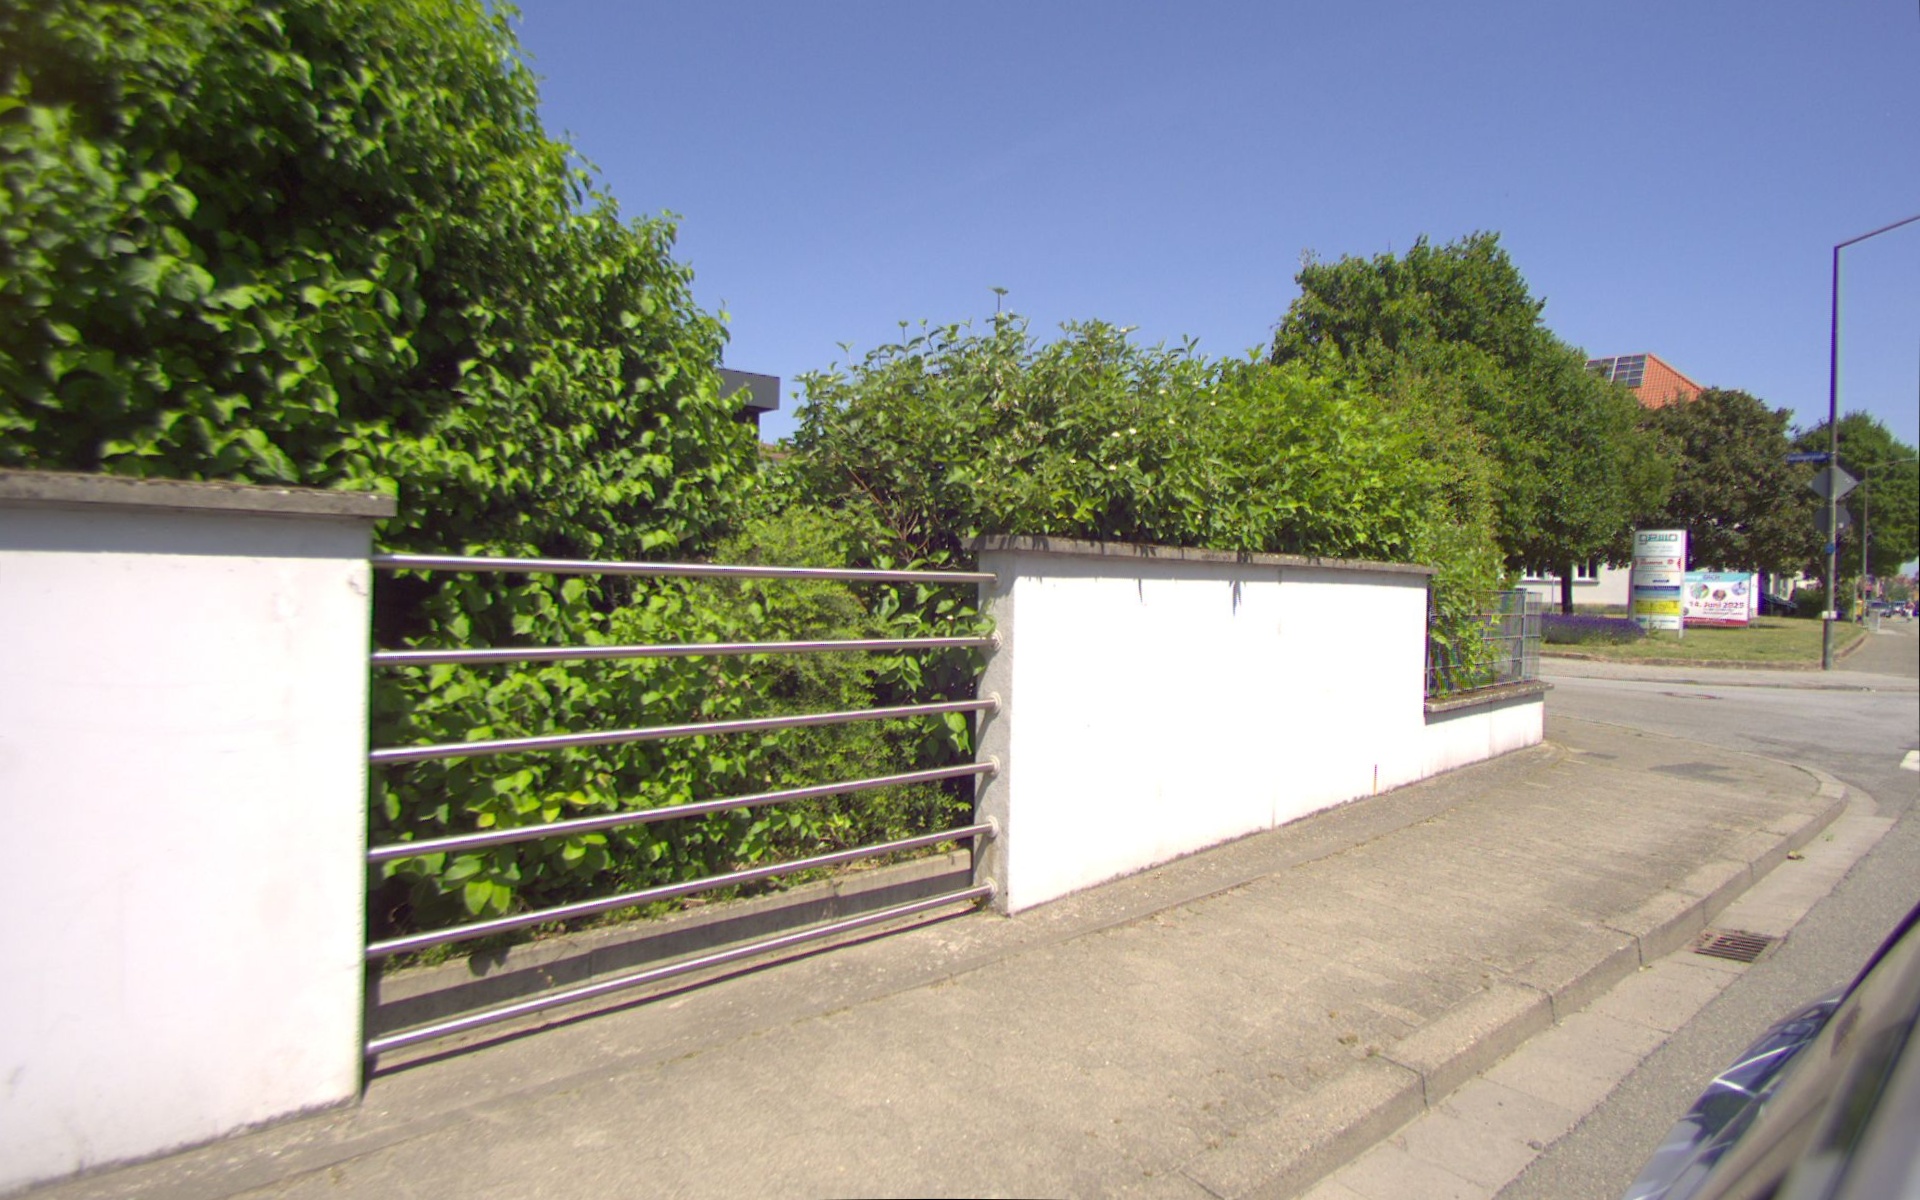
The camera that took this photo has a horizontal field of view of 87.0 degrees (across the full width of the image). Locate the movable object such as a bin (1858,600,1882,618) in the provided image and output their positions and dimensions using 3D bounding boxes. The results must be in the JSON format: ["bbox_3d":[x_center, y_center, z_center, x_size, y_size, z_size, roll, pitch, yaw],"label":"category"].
[{"bbox_3d":[80.704,0.781,89.747,1.494,1.499,1.402,2,1,41],"label":"movable object such as a bin"}]

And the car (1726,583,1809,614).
[{"bbox_3d":[55.601,-0.118,69.737,4.351,1.808,1.971,4,3,40],"label":"car"}]

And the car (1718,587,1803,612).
[{"bbox_3d":[53.593,-0.055,67.771,4.351,1.453,1.971,4,3,40],"label":"car"}]

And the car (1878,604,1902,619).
[{"bbox_3d":[87.153,1.063,94.891,1.602,1.429,3.850,0,0,42],"label":"car"}]
